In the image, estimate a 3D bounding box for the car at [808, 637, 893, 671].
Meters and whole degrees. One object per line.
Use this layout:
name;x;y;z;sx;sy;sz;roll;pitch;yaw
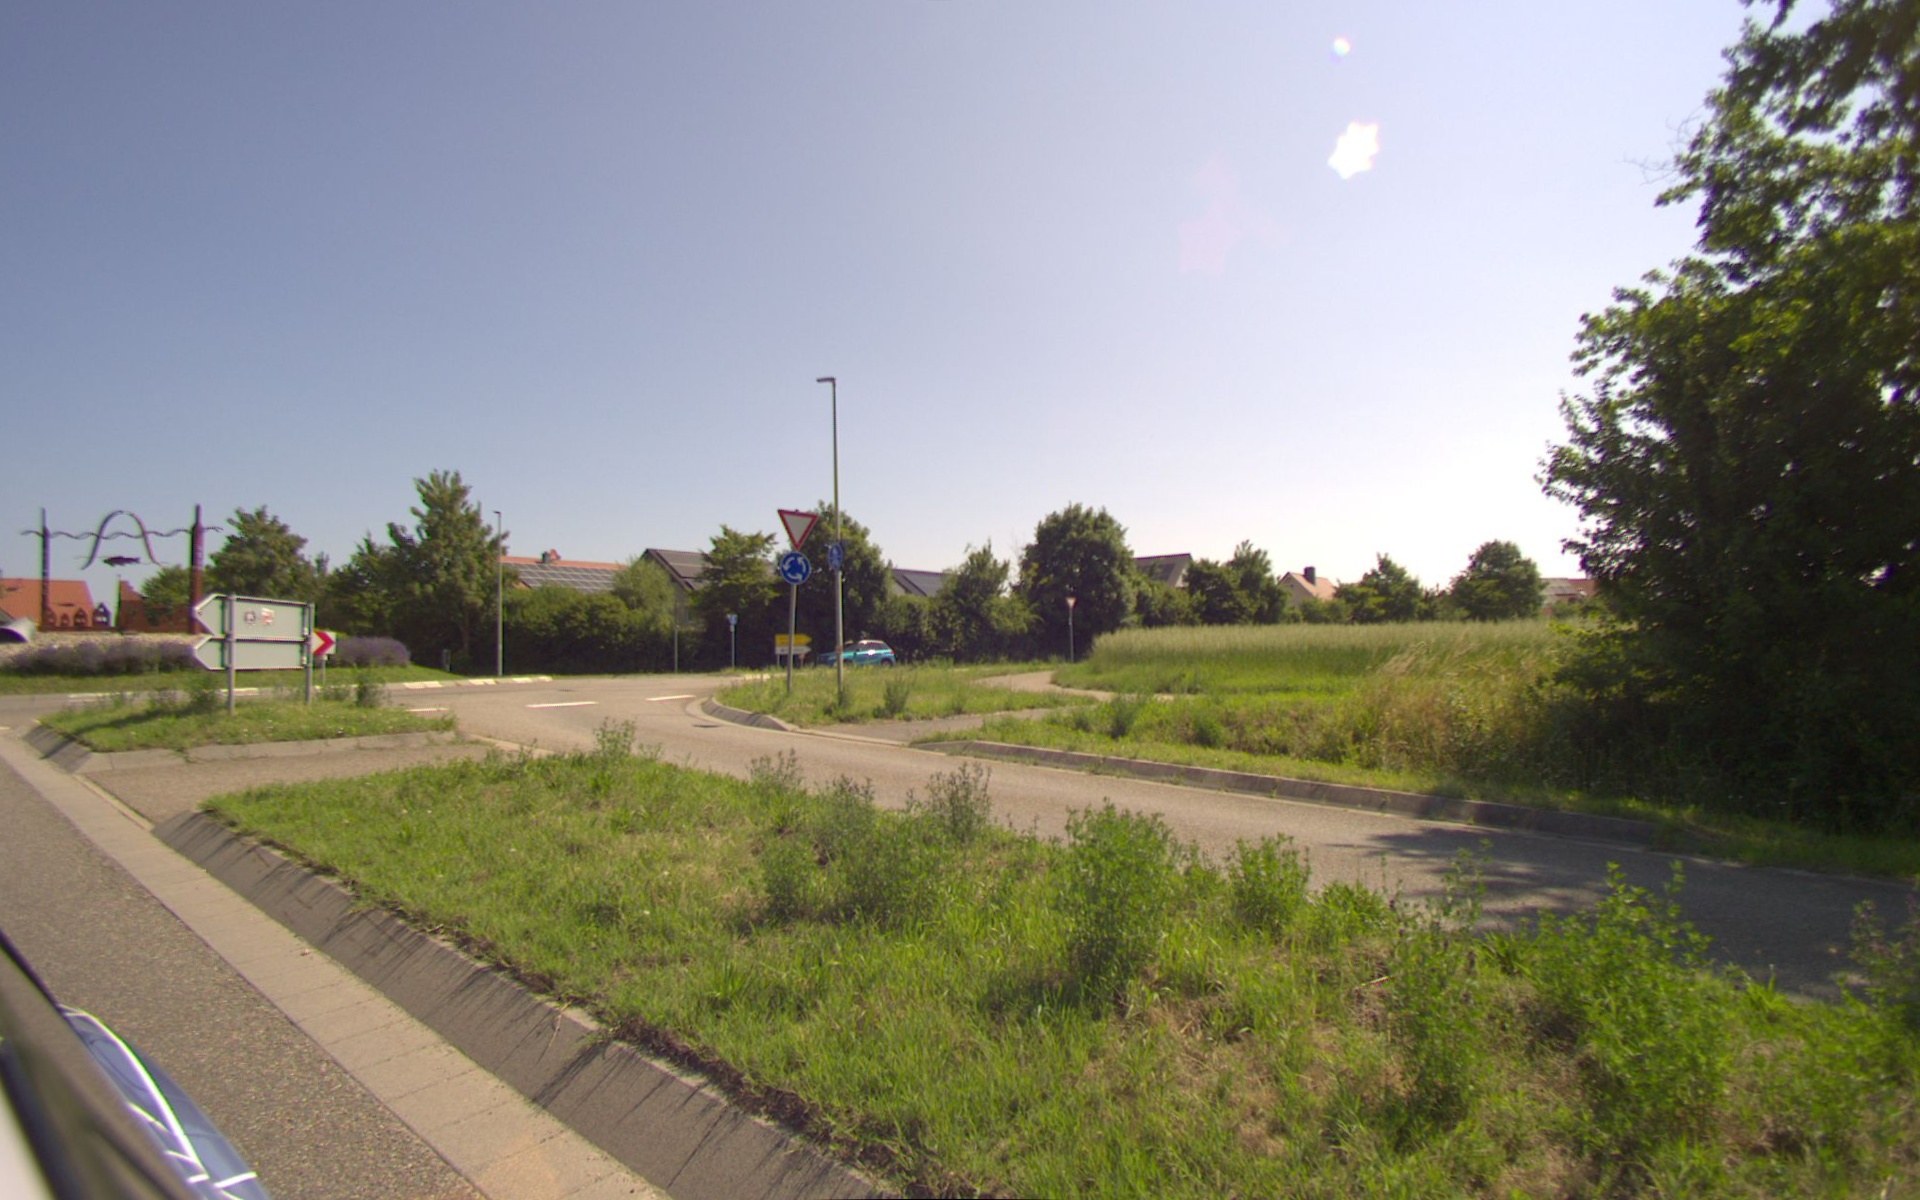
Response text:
car;-5.264;2.595;49.144;3.940;1.588;1.650;2;-4;-44
